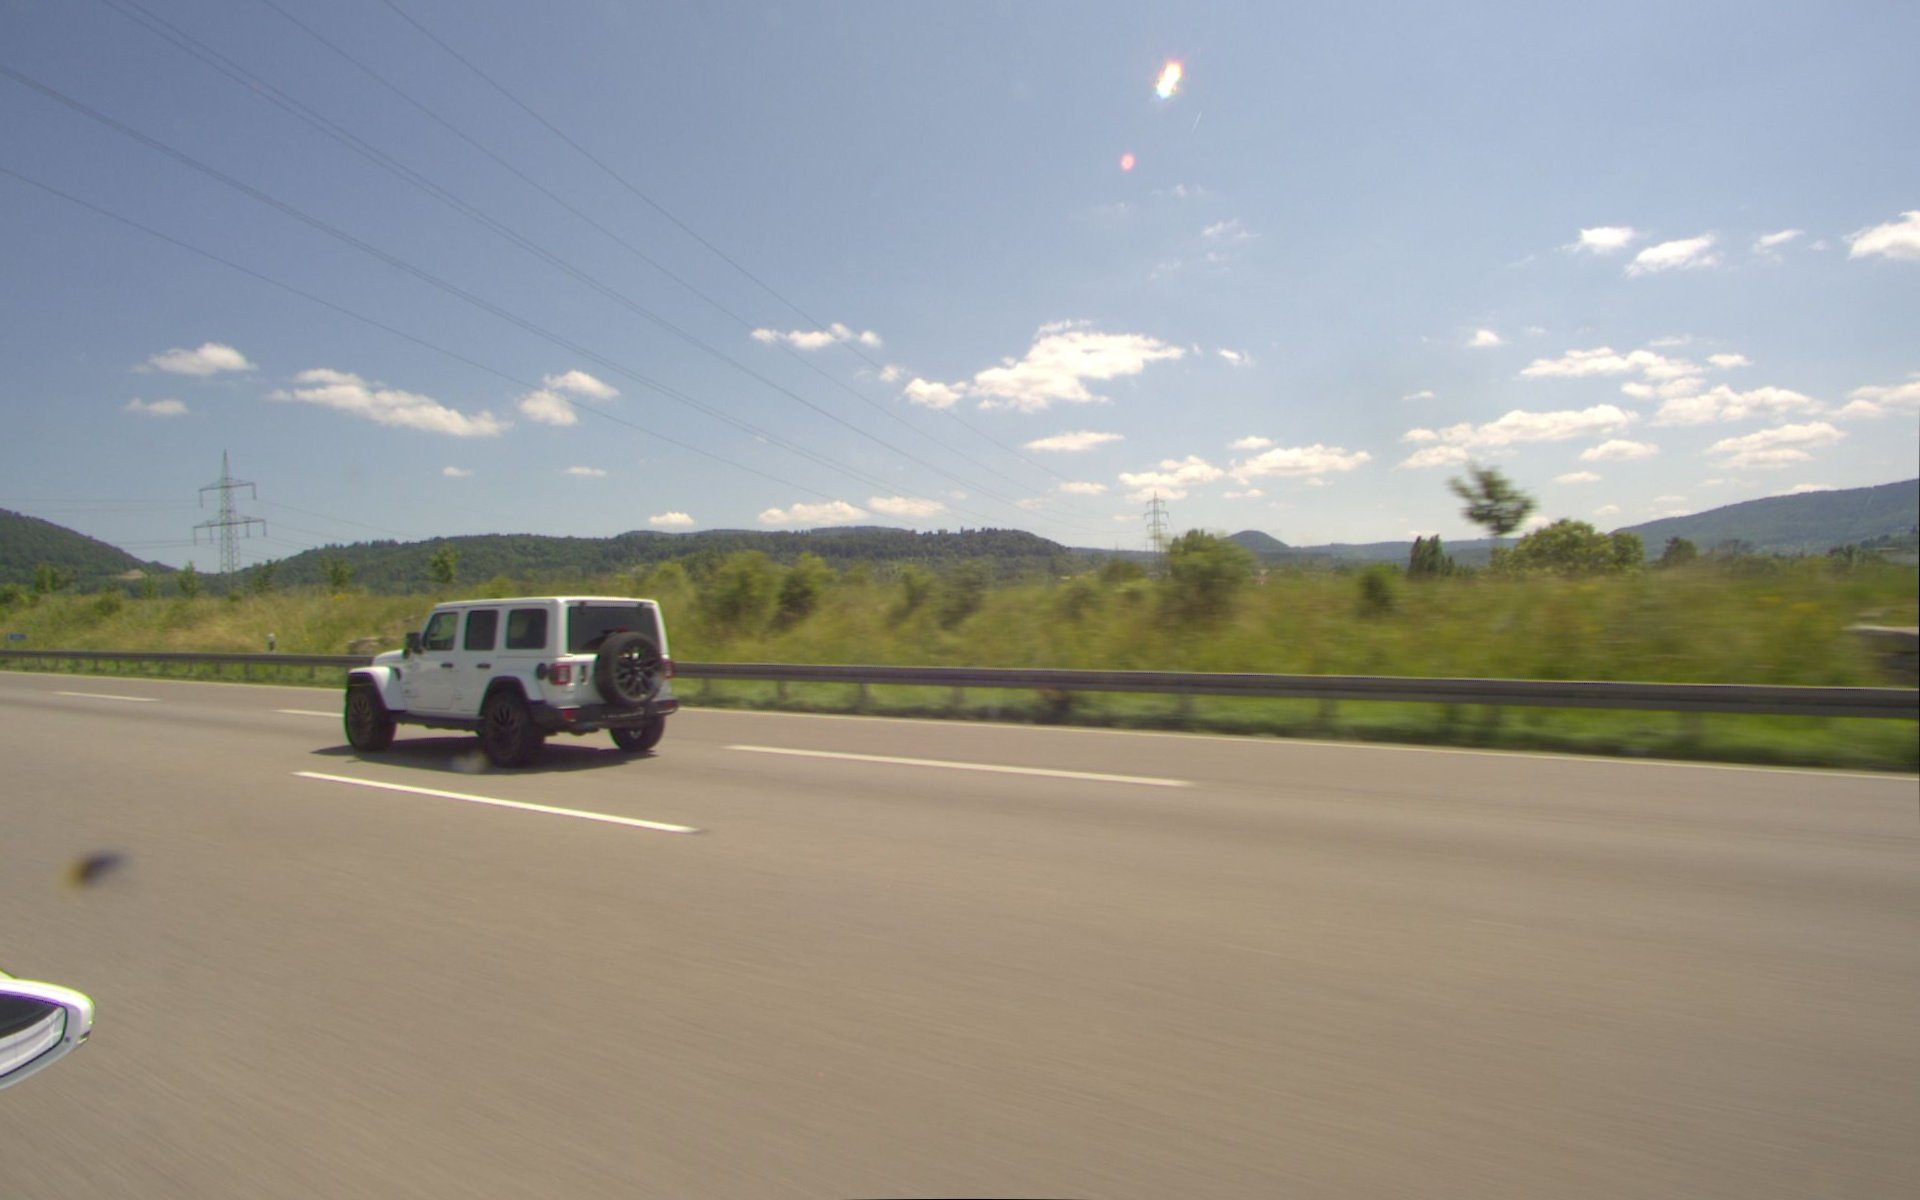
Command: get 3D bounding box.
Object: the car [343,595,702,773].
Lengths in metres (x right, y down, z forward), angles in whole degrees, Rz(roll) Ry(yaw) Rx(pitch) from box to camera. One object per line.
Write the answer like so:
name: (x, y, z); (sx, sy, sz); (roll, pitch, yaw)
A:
car: (-5.384, 0.910, 12.223); (4.189, 1.827, 2.031); (-1, -1, 32)
